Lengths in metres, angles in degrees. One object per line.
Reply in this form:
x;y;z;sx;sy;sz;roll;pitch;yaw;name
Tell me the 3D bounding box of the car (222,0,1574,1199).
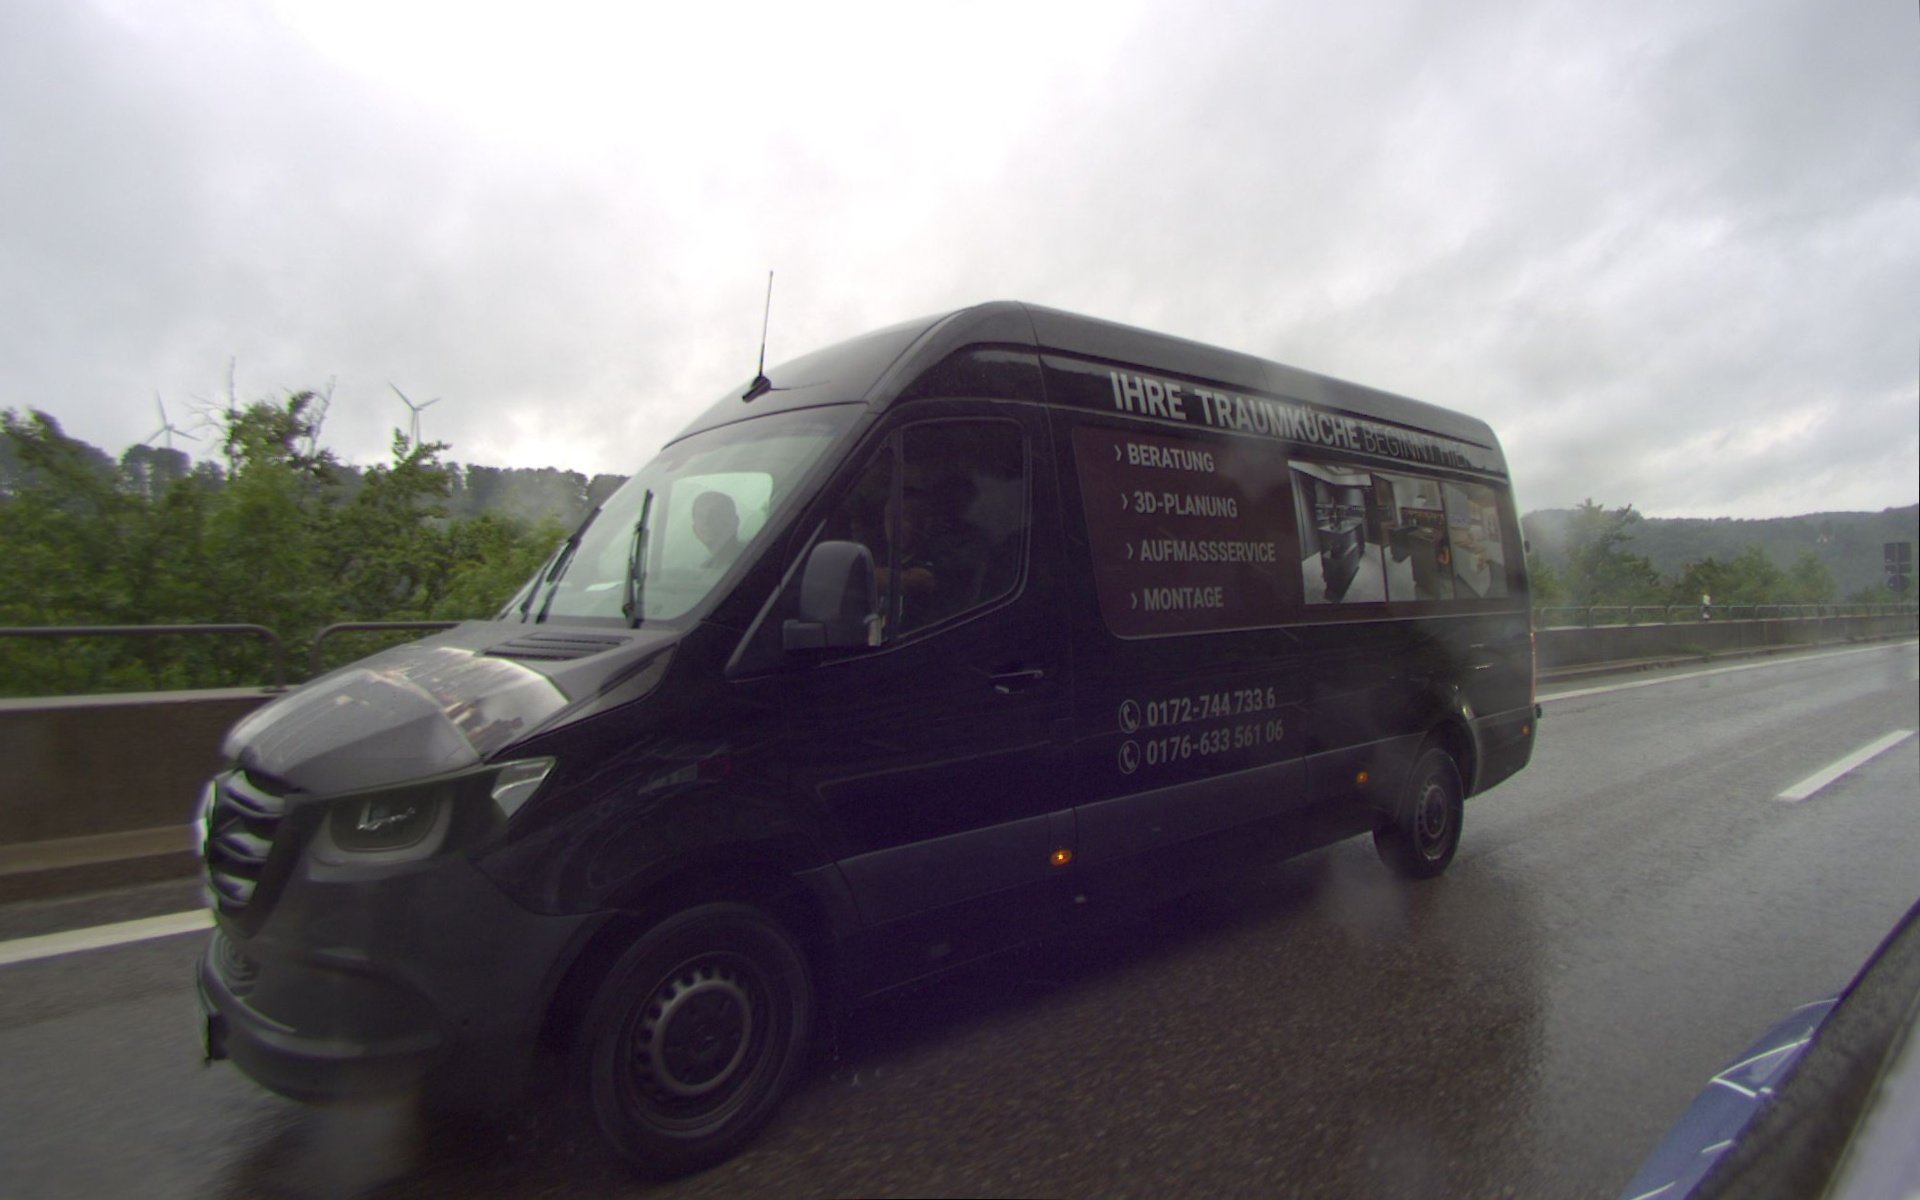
0.635;0.047;4.817;6.587;2.525;1.997;-1;1;-41;car
